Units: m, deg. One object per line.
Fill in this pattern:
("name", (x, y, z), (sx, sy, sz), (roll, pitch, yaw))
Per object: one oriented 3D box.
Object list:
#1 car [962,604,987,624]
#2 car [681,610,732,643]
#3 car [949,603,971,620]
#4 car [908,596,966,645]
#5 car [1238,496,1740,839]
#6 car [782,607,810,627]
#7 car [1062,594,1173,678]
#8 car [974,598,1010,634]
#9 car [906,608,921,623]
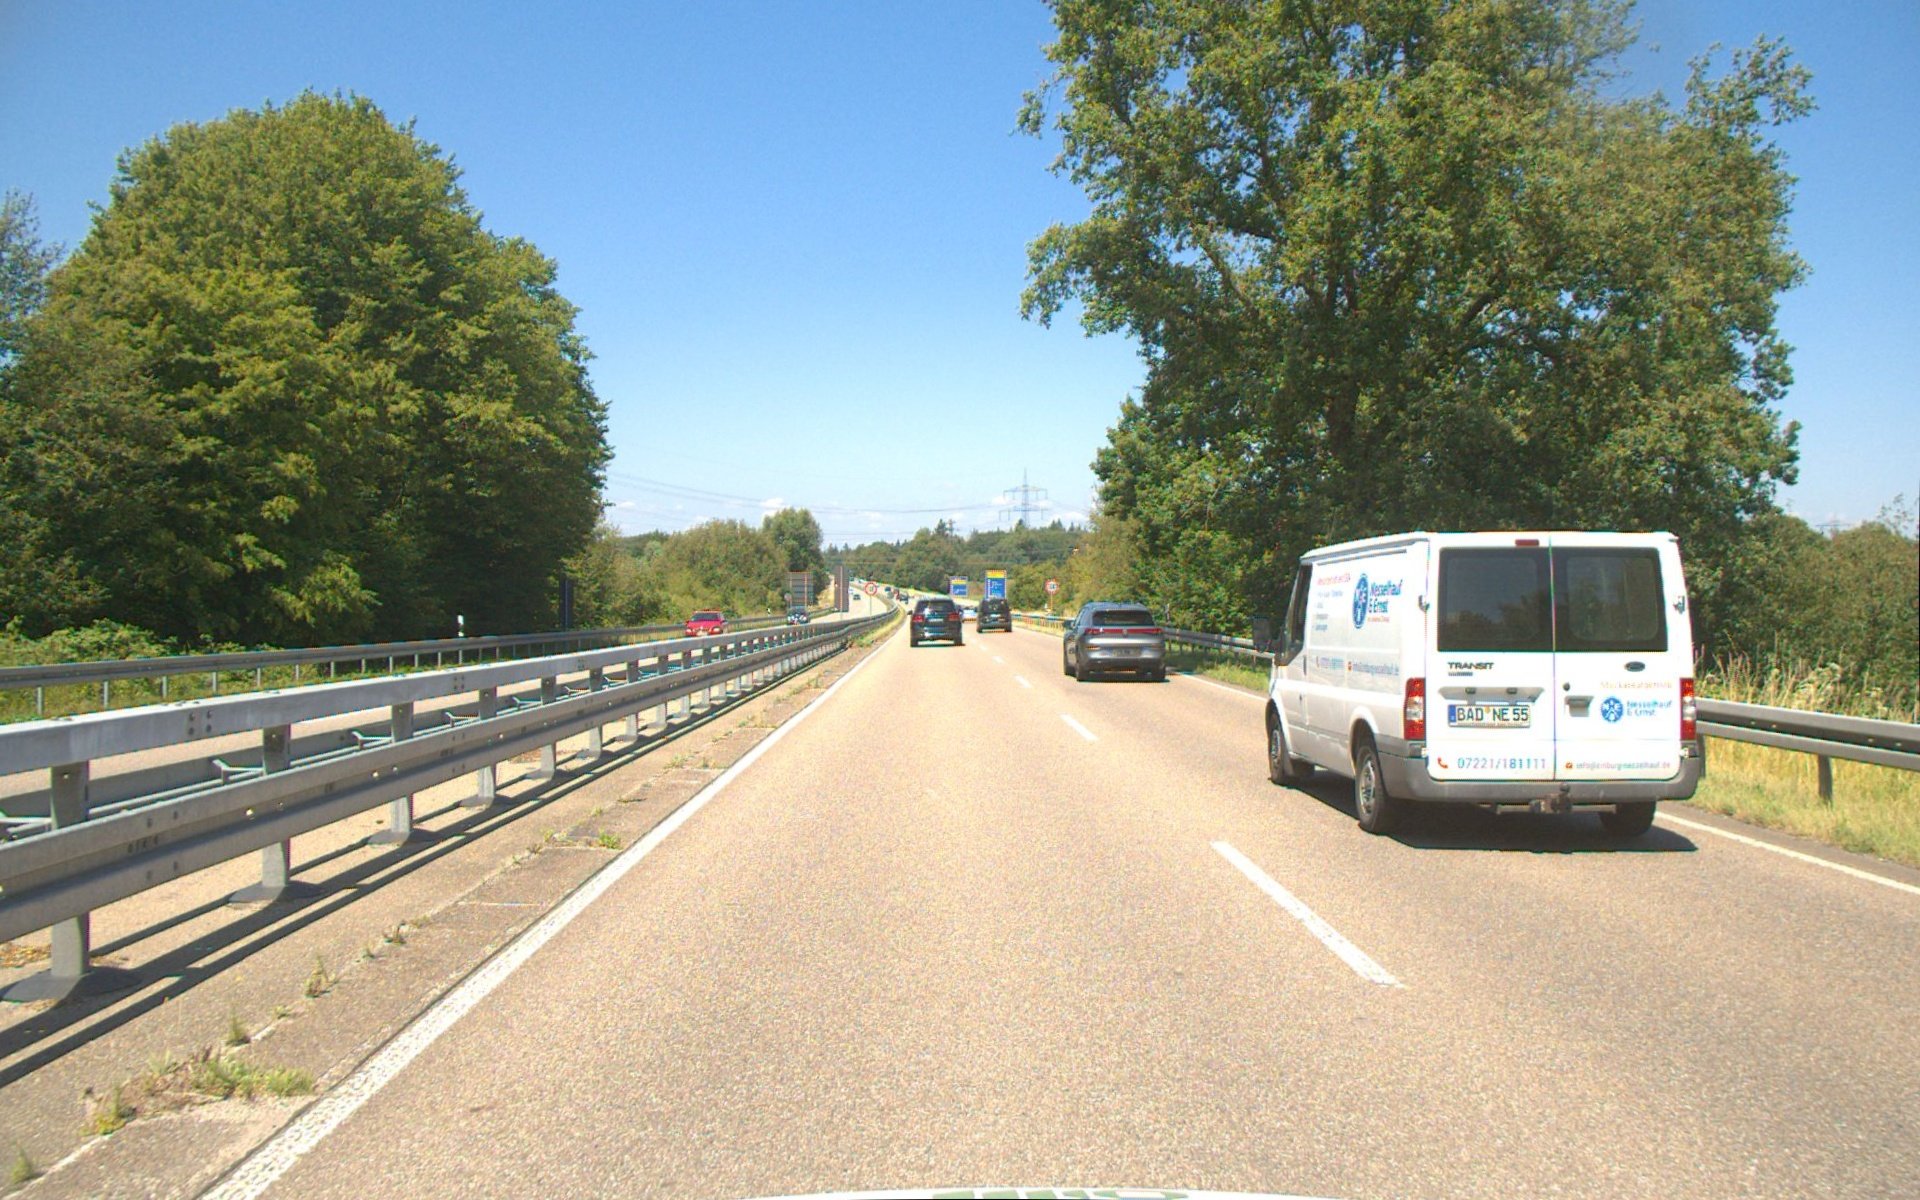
("car", (1.164, 1.143, 134.802), (1.743, 1.505, 4.313), (1, 0, -3))
("car", (-11.631, 1.217, 76.148), (1.740, 1.444, 4.573), (-1, 0, -2))
("car", (-0.006, 0.989, 147.584), (1.783, 1.439, 3.999), (-1, 1, -2))
("car", (-0.864, 0.728, 60.794), (1.954, 1.683, 3.998), (1, 0, -3))
("car", (3.636, 0.431, 12.545), (1.966, 2.023, 5.031), (-2, -1, -3))
("car", (-12.713, 1.335, 128.562), (1.761, 1.494, 3.773), (1, 0, 0))
("car", (3.162, 0.685, 33.877), (1.749, 1.580, 4.017), (0, 0, -2))
("car", (1.702, 0.846, 88.721), (1.744, 1.848, 4.212), (-1, 0, -1))
("car", (-4.966, 1.665, 176.734), (1.484, 1.501, 3.064), (2, 0, -3))
